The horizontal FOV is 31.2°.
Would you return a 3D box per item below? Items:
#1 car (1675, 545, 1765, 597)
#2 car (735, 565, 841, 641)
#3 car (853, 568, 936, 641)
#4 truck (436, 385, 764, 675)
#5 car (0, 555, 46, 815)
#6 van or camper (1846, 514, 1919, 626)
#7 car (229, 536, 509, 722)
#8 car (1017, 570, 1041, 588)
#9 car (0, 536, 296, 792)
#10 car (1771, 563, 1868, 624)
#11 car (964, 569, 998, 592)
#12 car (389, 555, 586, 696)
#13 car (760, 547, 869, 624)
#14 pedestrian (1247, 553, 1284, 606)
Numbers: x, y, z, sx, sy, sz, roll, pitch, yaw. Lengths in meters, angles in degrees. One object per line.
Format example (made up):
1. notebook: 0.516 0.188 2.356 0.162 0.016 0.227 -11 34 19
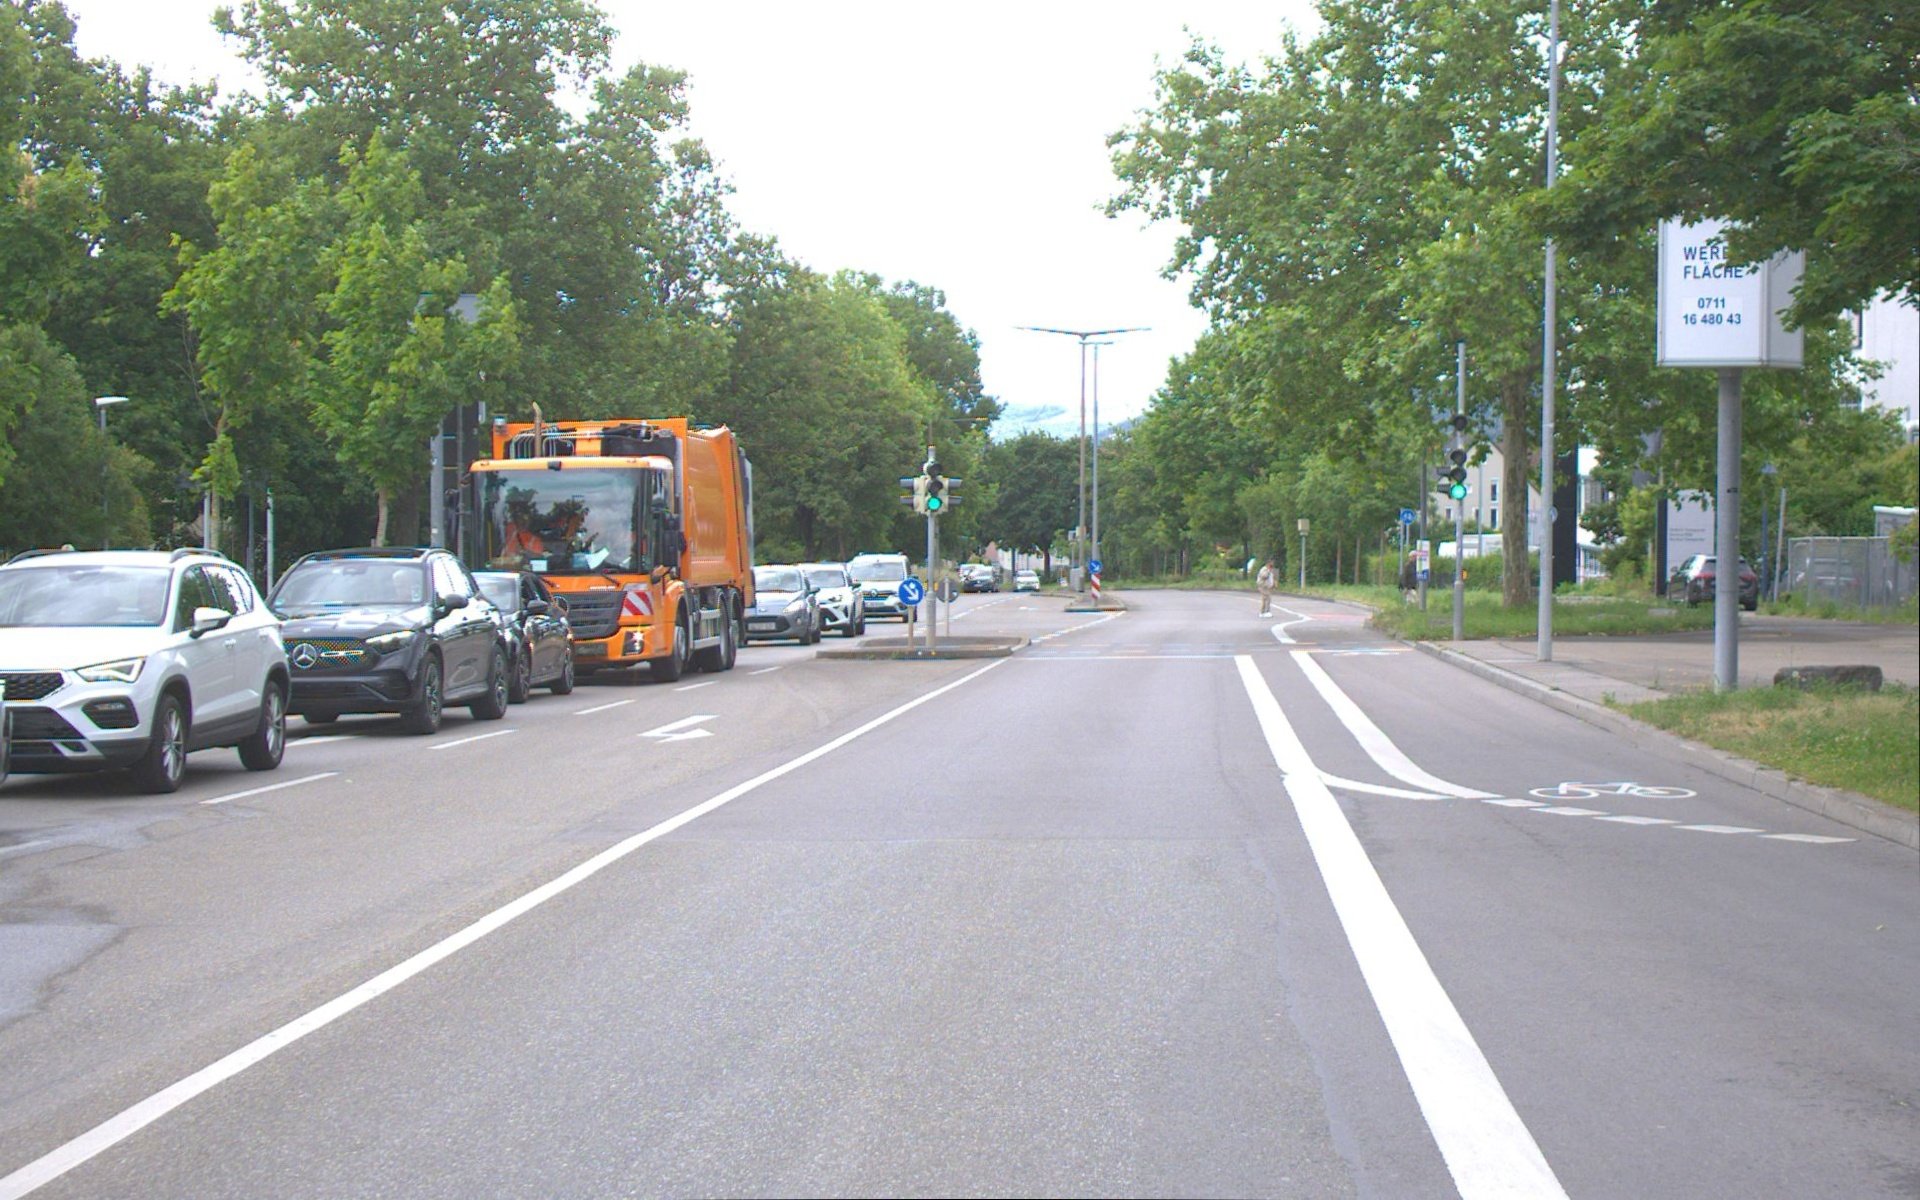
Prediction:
1. car: 19.961 -0.765 90.394 1.711 1.349 4.343 0 1 4
2. car: -3.177 0.043 64.026 1.547 1.326 3.653 -2 0 3
3. car: -1.700 0.102 90.280 1.846 1.797 4.650 -2 0 2
4. truck: -4.615 -0.922 46.289 2.706 3.475 9.994 0 1 4
5. car: -6.030 0.480 16.693 1.639 1.386 4.885 0 1 3
6. van or camper: 25.302 -0.808 91.295 1.965 2.858 6.919 0 1 2
7. car: -5.307 0.214 31.335 1.639 1.580 4.060 0 1 3
8. car: 5.106 -1.564 255.449 1.612 1.300 4.000 0 0 3
9. car: -5.896 0.360 23.397 1.730 1.580 4.223 0 1 3
10. car: 22.588 -0.199 90.460 1.711 1.503 4.343 2 1 4
11. car: 1.233 -1.111 198.443 1.772 1.300 4.000 0 0 3
12. car: -5.163 0.242 37.984 1.434 1.452 3.894 0 1 3
13. car: -3.015 -0.313 72.232 1.846 1.515 4.815 -2 0 2
14. pedestrian: 8.414 -0.560 94.650 0.788 1.458 0.749 0 0 -15
